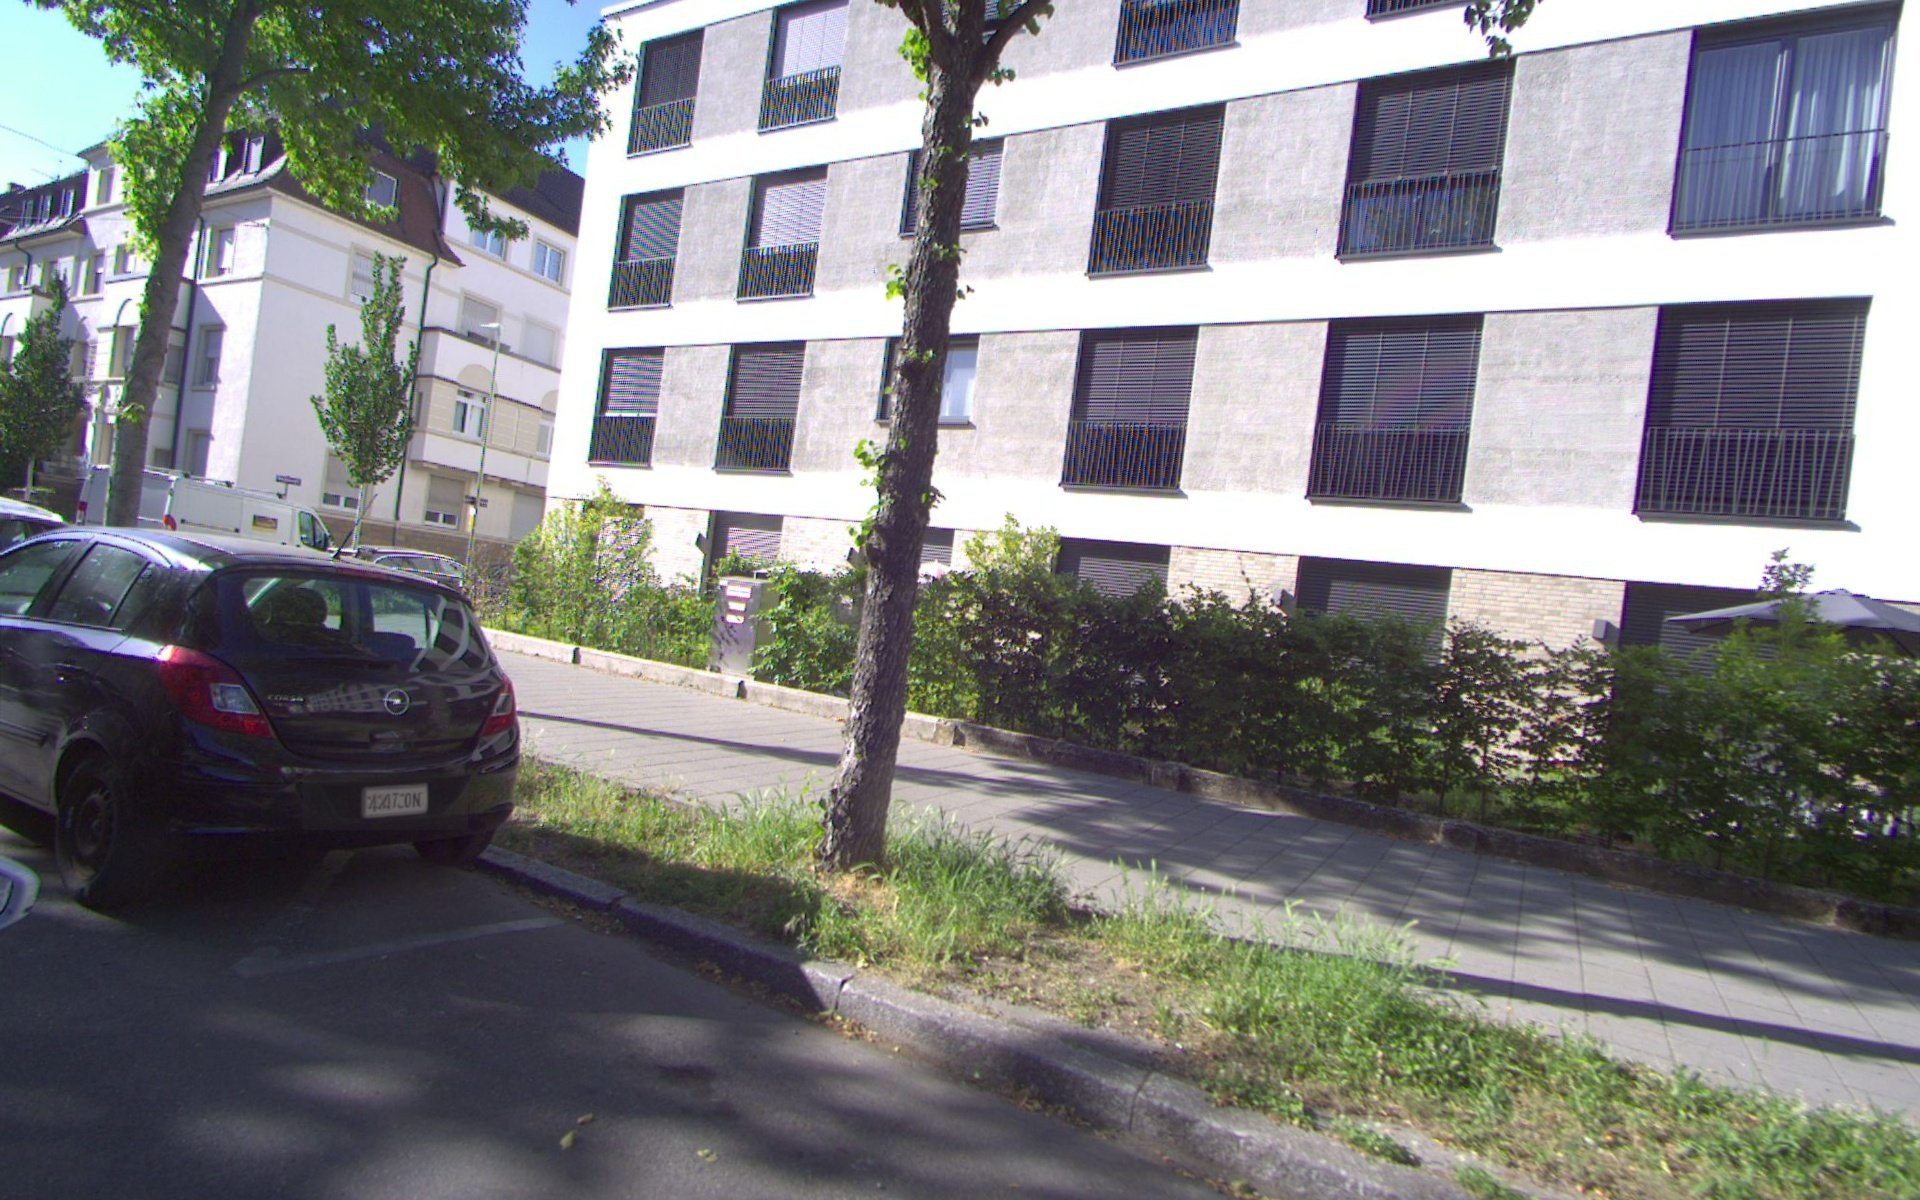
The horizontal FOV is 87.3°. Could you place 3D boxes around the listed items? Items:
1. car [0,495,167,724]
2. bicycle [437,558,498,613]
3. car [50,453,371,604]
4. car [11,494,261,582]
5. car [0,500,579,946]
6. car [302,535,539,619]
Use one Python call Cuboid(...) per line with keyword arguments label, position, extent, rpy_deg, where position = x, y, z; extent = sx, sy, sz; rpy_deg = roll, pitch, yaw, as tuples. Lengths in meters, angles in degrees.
Cuboid(label="car", position=(-7.999, -0.140, 7.538), extent=(3.940, 1.504, 1.737), rpy_deg=(7, -1, 29))
Cuboid(label="bicycle", position=(-11.939, -0.327, 24.452), extent=(0.651, 1.187, 1.990), rpy_deg=(7, -2, -9))
Cuboid(label="car", position=(-15.017, -1.289, 20.669), extent=(2.192, 2.333, 5.060), rpy_deg=(7, -1, 8))
Cuboid(label="car", position=(-20.966, -1.526, 25.740), extent=(1.928, 1.487, 4.708), rpy_deg=(6, -2, 45))
Cuboid(label="car", position=(-4.161, 0.359, 5.254), extent=(4.107, 1.466, 1.675), rpy_deg=(7, -3, 30))
Cuboid(label="car", position=(-13.592, -0.517, 25.706), extent=(2.012, 1.487, 4.938), rpy_deg=(7, -1, 29))
